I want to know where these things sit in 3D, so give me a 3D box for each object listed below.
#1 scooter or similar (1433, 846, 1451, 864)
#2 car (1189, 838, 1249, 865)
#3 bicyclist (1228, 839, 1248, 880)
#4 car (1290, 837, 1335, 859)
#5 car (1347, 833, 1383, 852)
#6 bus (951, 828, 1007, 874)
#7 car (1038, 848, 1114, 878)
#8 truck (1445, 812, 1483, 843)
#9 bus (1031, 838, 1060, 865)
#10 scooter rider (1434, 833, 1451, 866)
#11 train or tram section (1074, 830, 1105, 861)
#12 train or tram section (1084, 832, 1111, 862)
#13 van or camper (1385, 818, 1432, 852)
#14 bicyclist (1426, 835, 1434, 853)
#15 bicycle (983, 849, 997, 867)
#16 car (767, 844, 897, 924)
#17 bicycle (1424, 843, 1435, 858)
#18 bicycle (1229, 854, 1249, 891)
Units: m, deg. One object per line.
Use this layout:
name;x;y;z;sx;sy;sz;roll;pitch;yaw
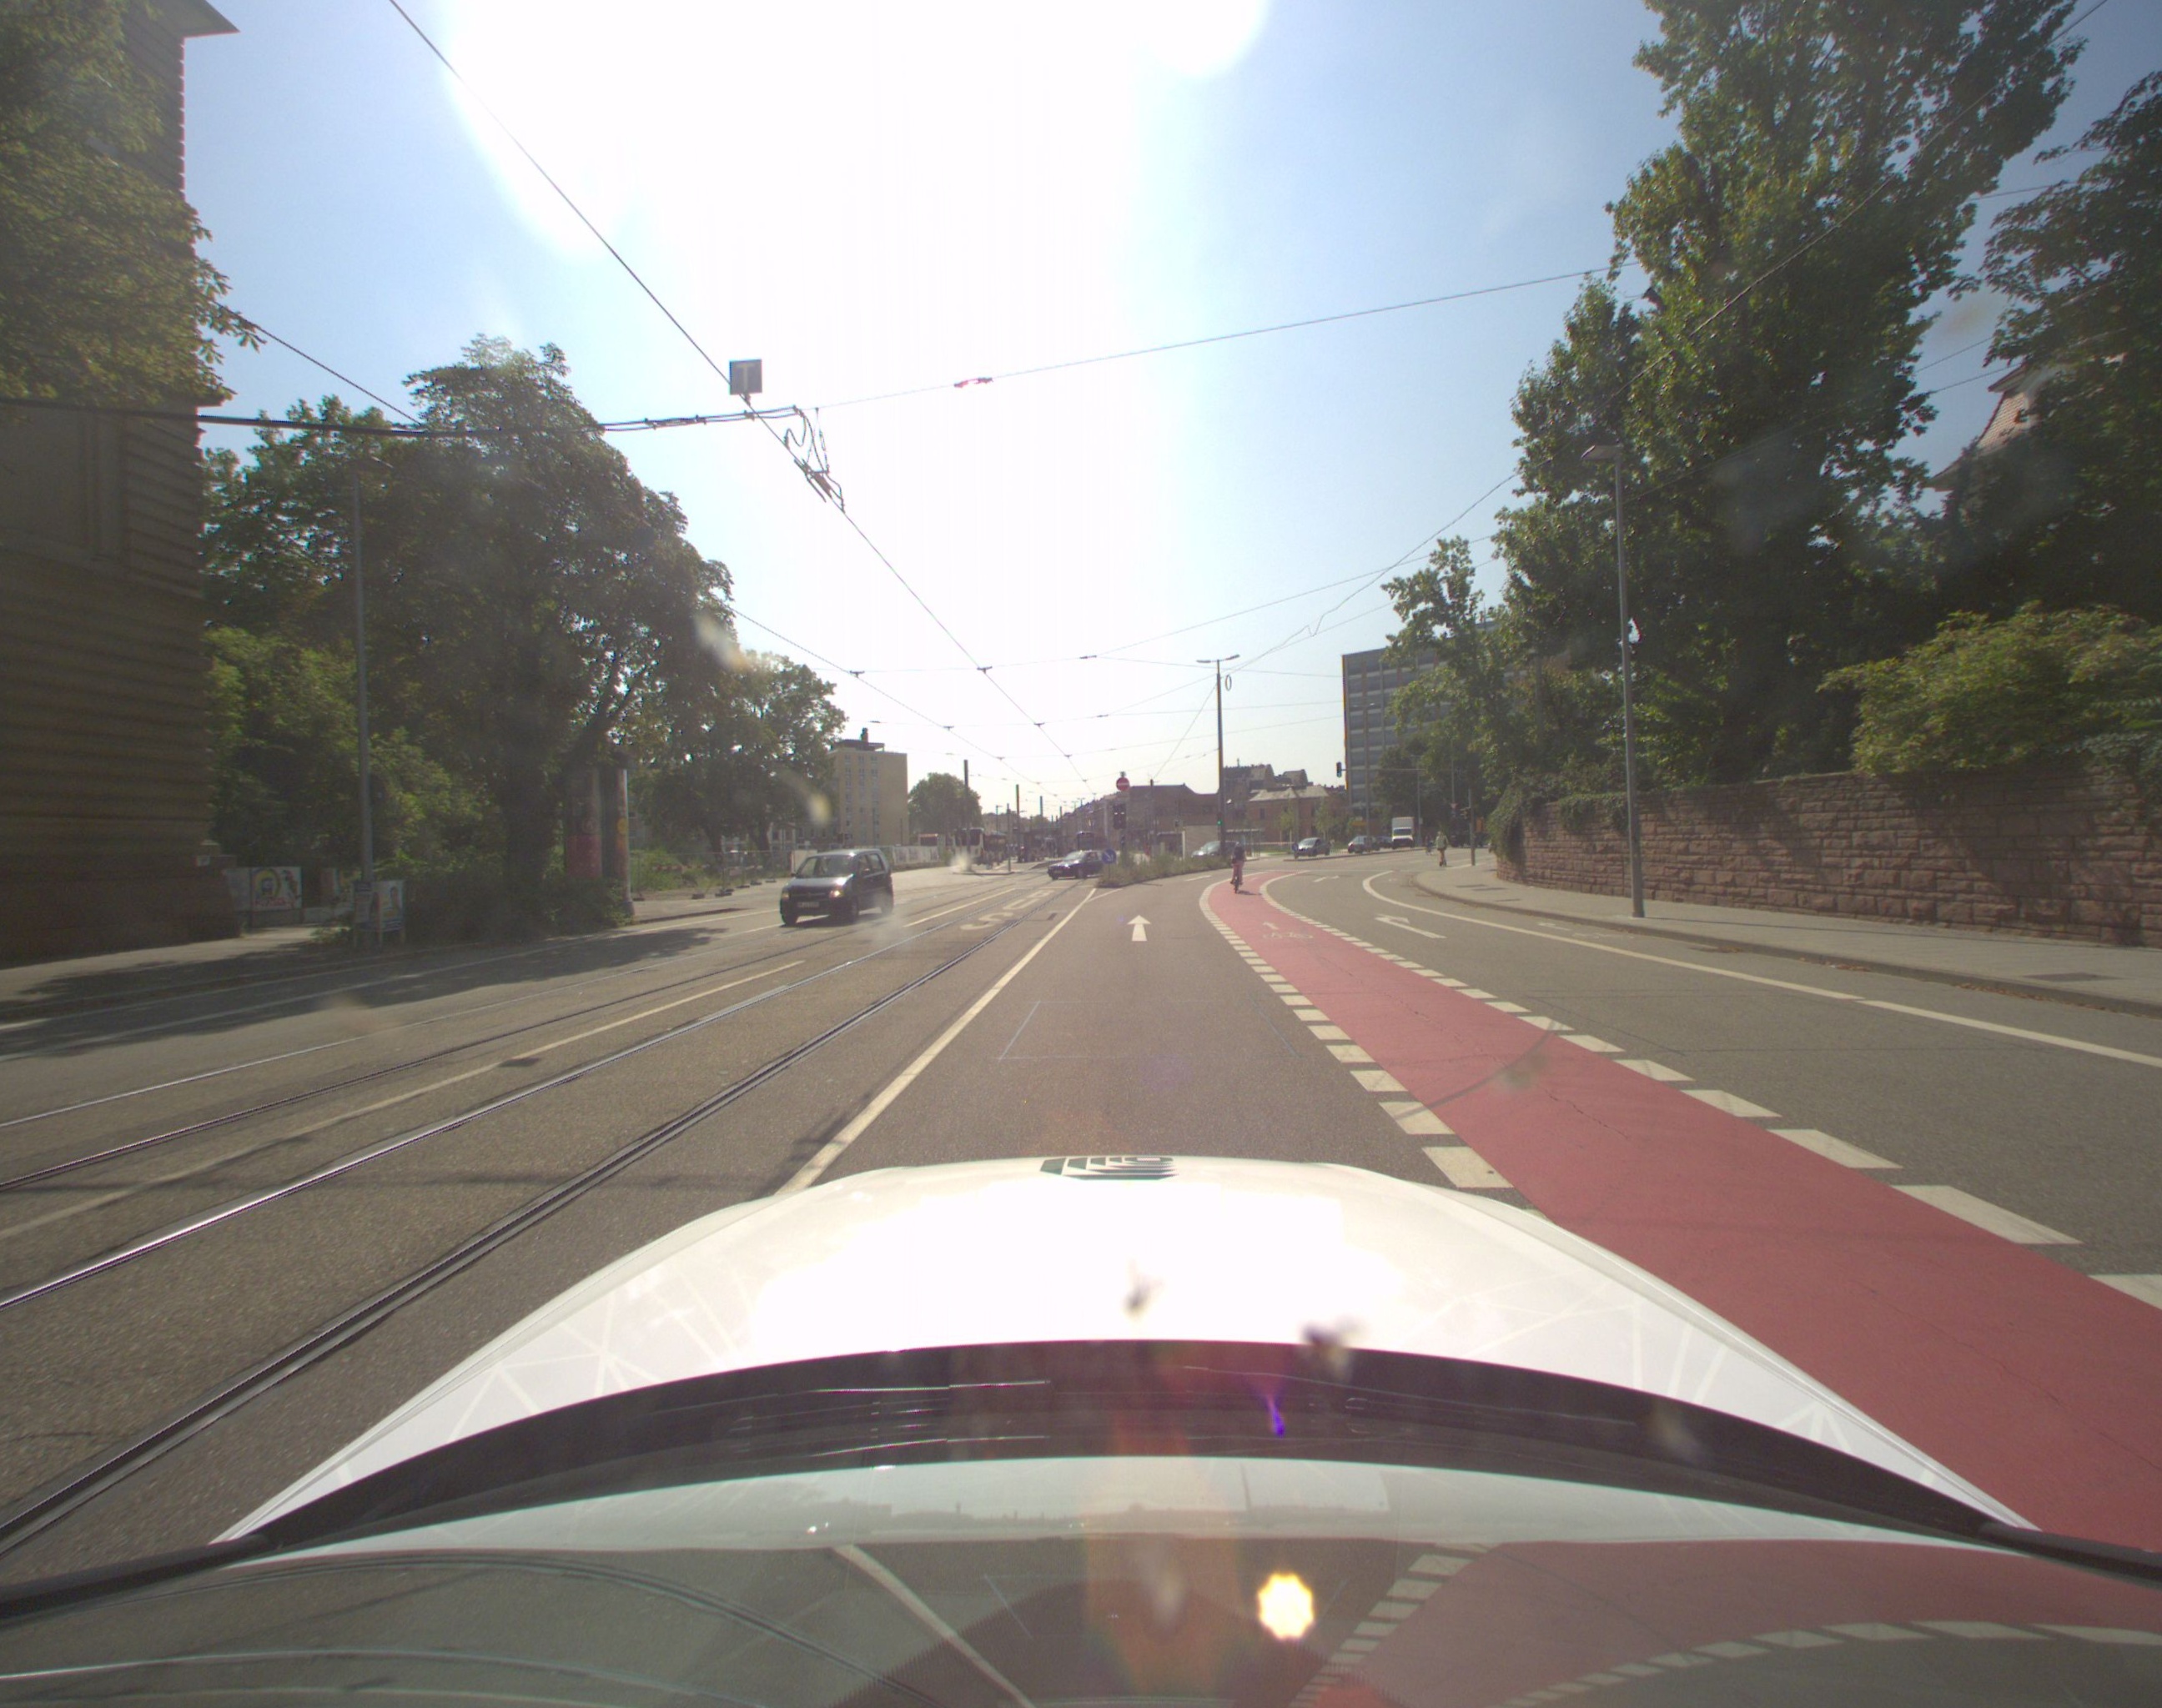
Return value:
scooter or similar;20.110;0.053;45.319;0.765;0.926;1.630;-1;1;28
car;9.061;-0.154;53.164;1.754;1.610;4.703;-2;0;38
bicyclist;5.181;0.183;26.834;0.599;1.335;0.662;-2;0;11
car;18.208;-0.492;63.832;1.635;1.530;4.352;-2;0;41
car;25.328;-1.025;72.490;1.680;1.530;4.210;-2;0;39
bus;-8.872;-0.256;72.206;2.945;3.774;10.607;-1;0;4
car;-0.185;0.423;40.851;1.671;1.378;4.647;-2;0;29
truck;39.269;-2.628;83.424;2.670;2.989;6.005;-1;0;34
bus;-4.996;-0.380;117.539;2.696;3.727;10.435;-1;0;6
scooter rider;20.172;-0.249;45.432;0.755;1.775;0.558;-2;0;28
train or tram section;1.247;-1.040;104.765;2.844;3.548;17.761;-1;0;4
train or tram section;2.691;-1.001;123.224;2.873;4.068;19.166;-1;0;5
van or camper;33.790;-1.996;83.877;2.376;3.306;7.236;-2;0;39
bicyclist;27.167;-0.795;63.414;0.445;1.421;0.499;-2;0;38
bicycle;-6.551;0.263;58.766;0.604;1.222;1.709;-2;0;8
car;-5.708;0.639;19.113;1.683;1.655;3.585;-1;0;4
bicycle;27.078;-0.294;63.273;0.440;1.116;1.455;-2;0;38
bicycle;5.181;0.583;26.800;0.600;1.163;1.816;-2;0;10
